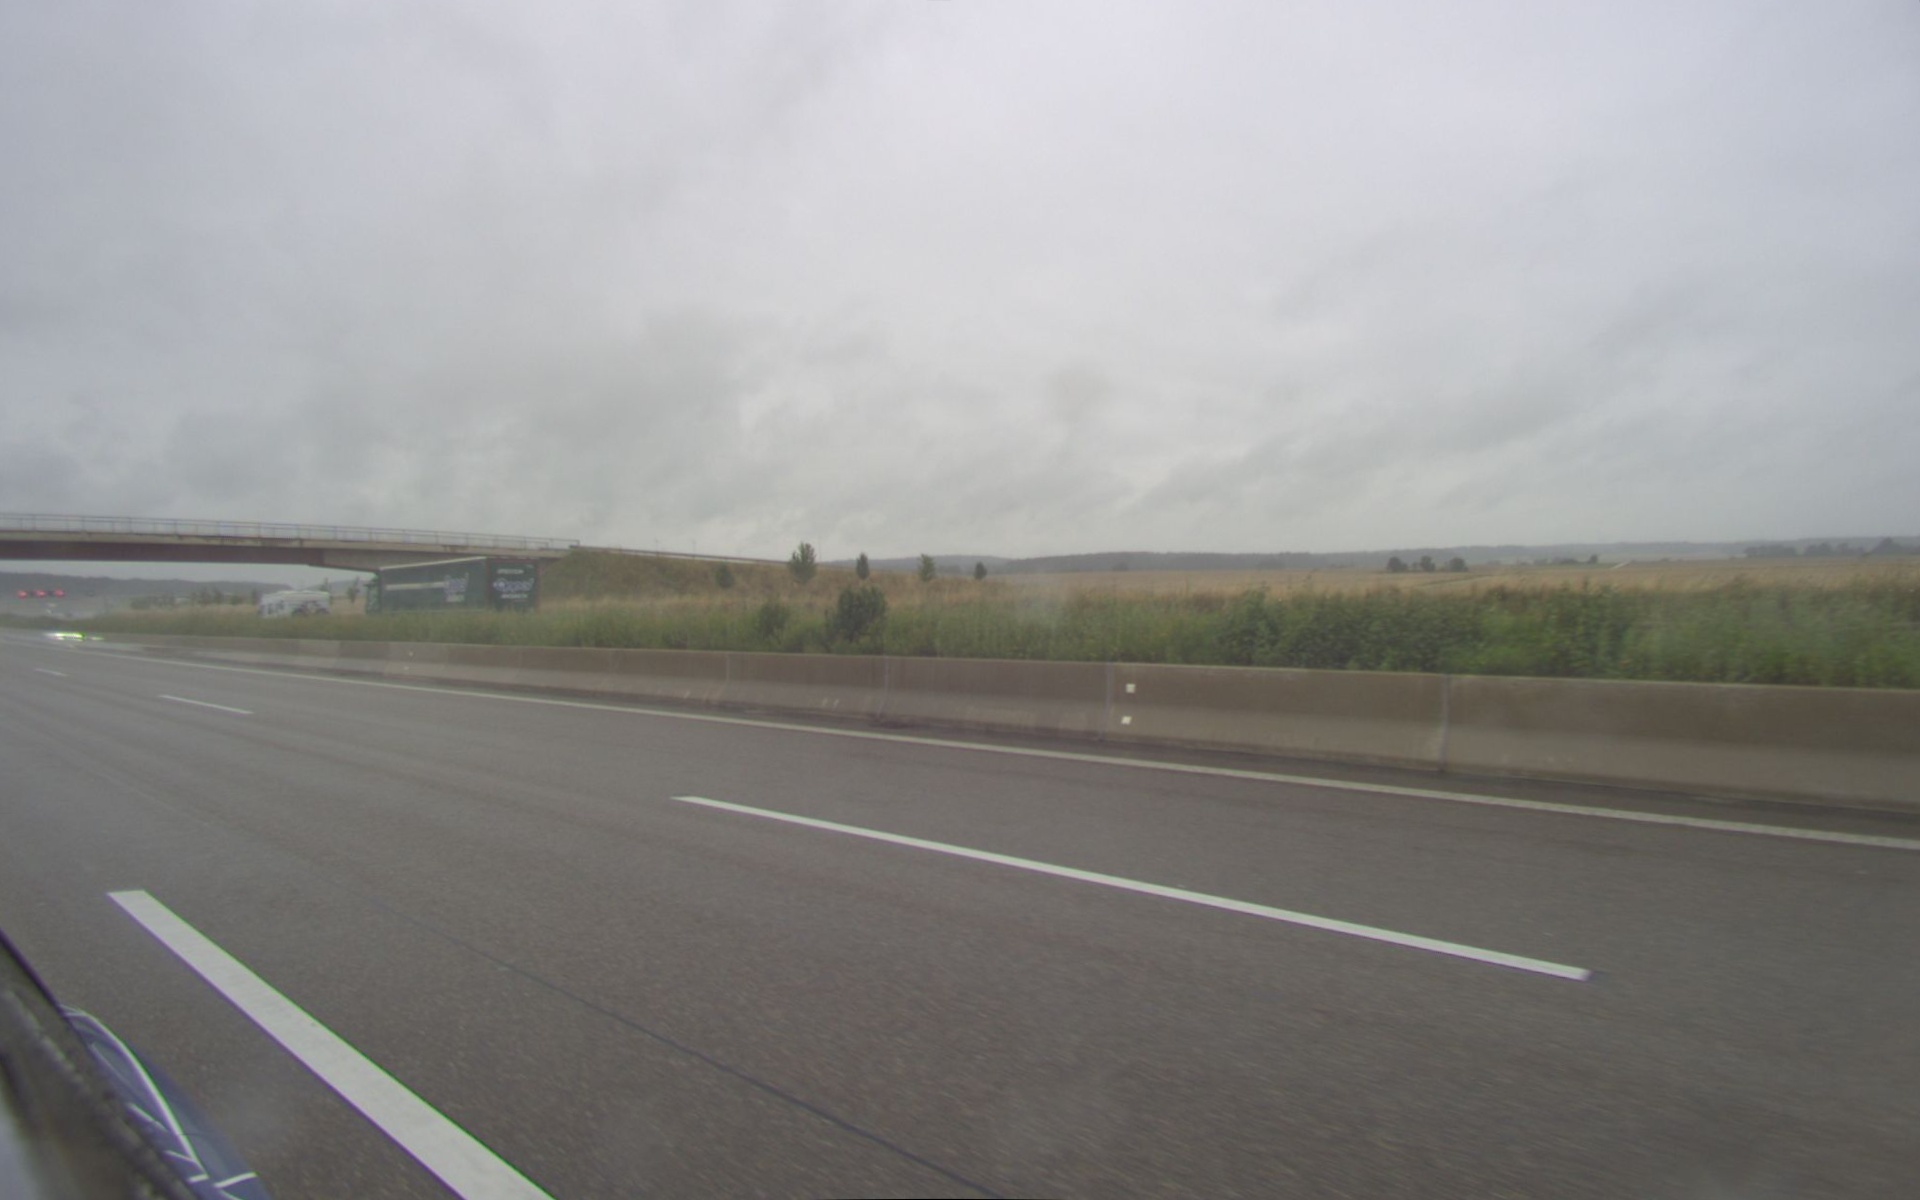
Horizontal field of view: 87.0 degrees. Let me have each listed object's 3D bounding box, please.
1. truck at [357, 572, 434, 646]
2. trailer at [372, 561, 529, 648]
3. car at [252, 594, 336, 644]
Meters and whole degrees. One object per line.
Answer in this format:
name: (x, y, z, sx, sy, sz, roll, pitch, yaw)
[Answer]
truck: (-31.815, 0.534, 56.994, 5.183, 4.014, 2.190, -2, -1, 42)
trailer: (-26.714, 0.358, 52.441, 14.201, 4.027, 2.200, -2, -1, 42)
car: (-38.256, 1.082, 58.072, 6.203, 2.726, 2.471, -1, 0, 41)
